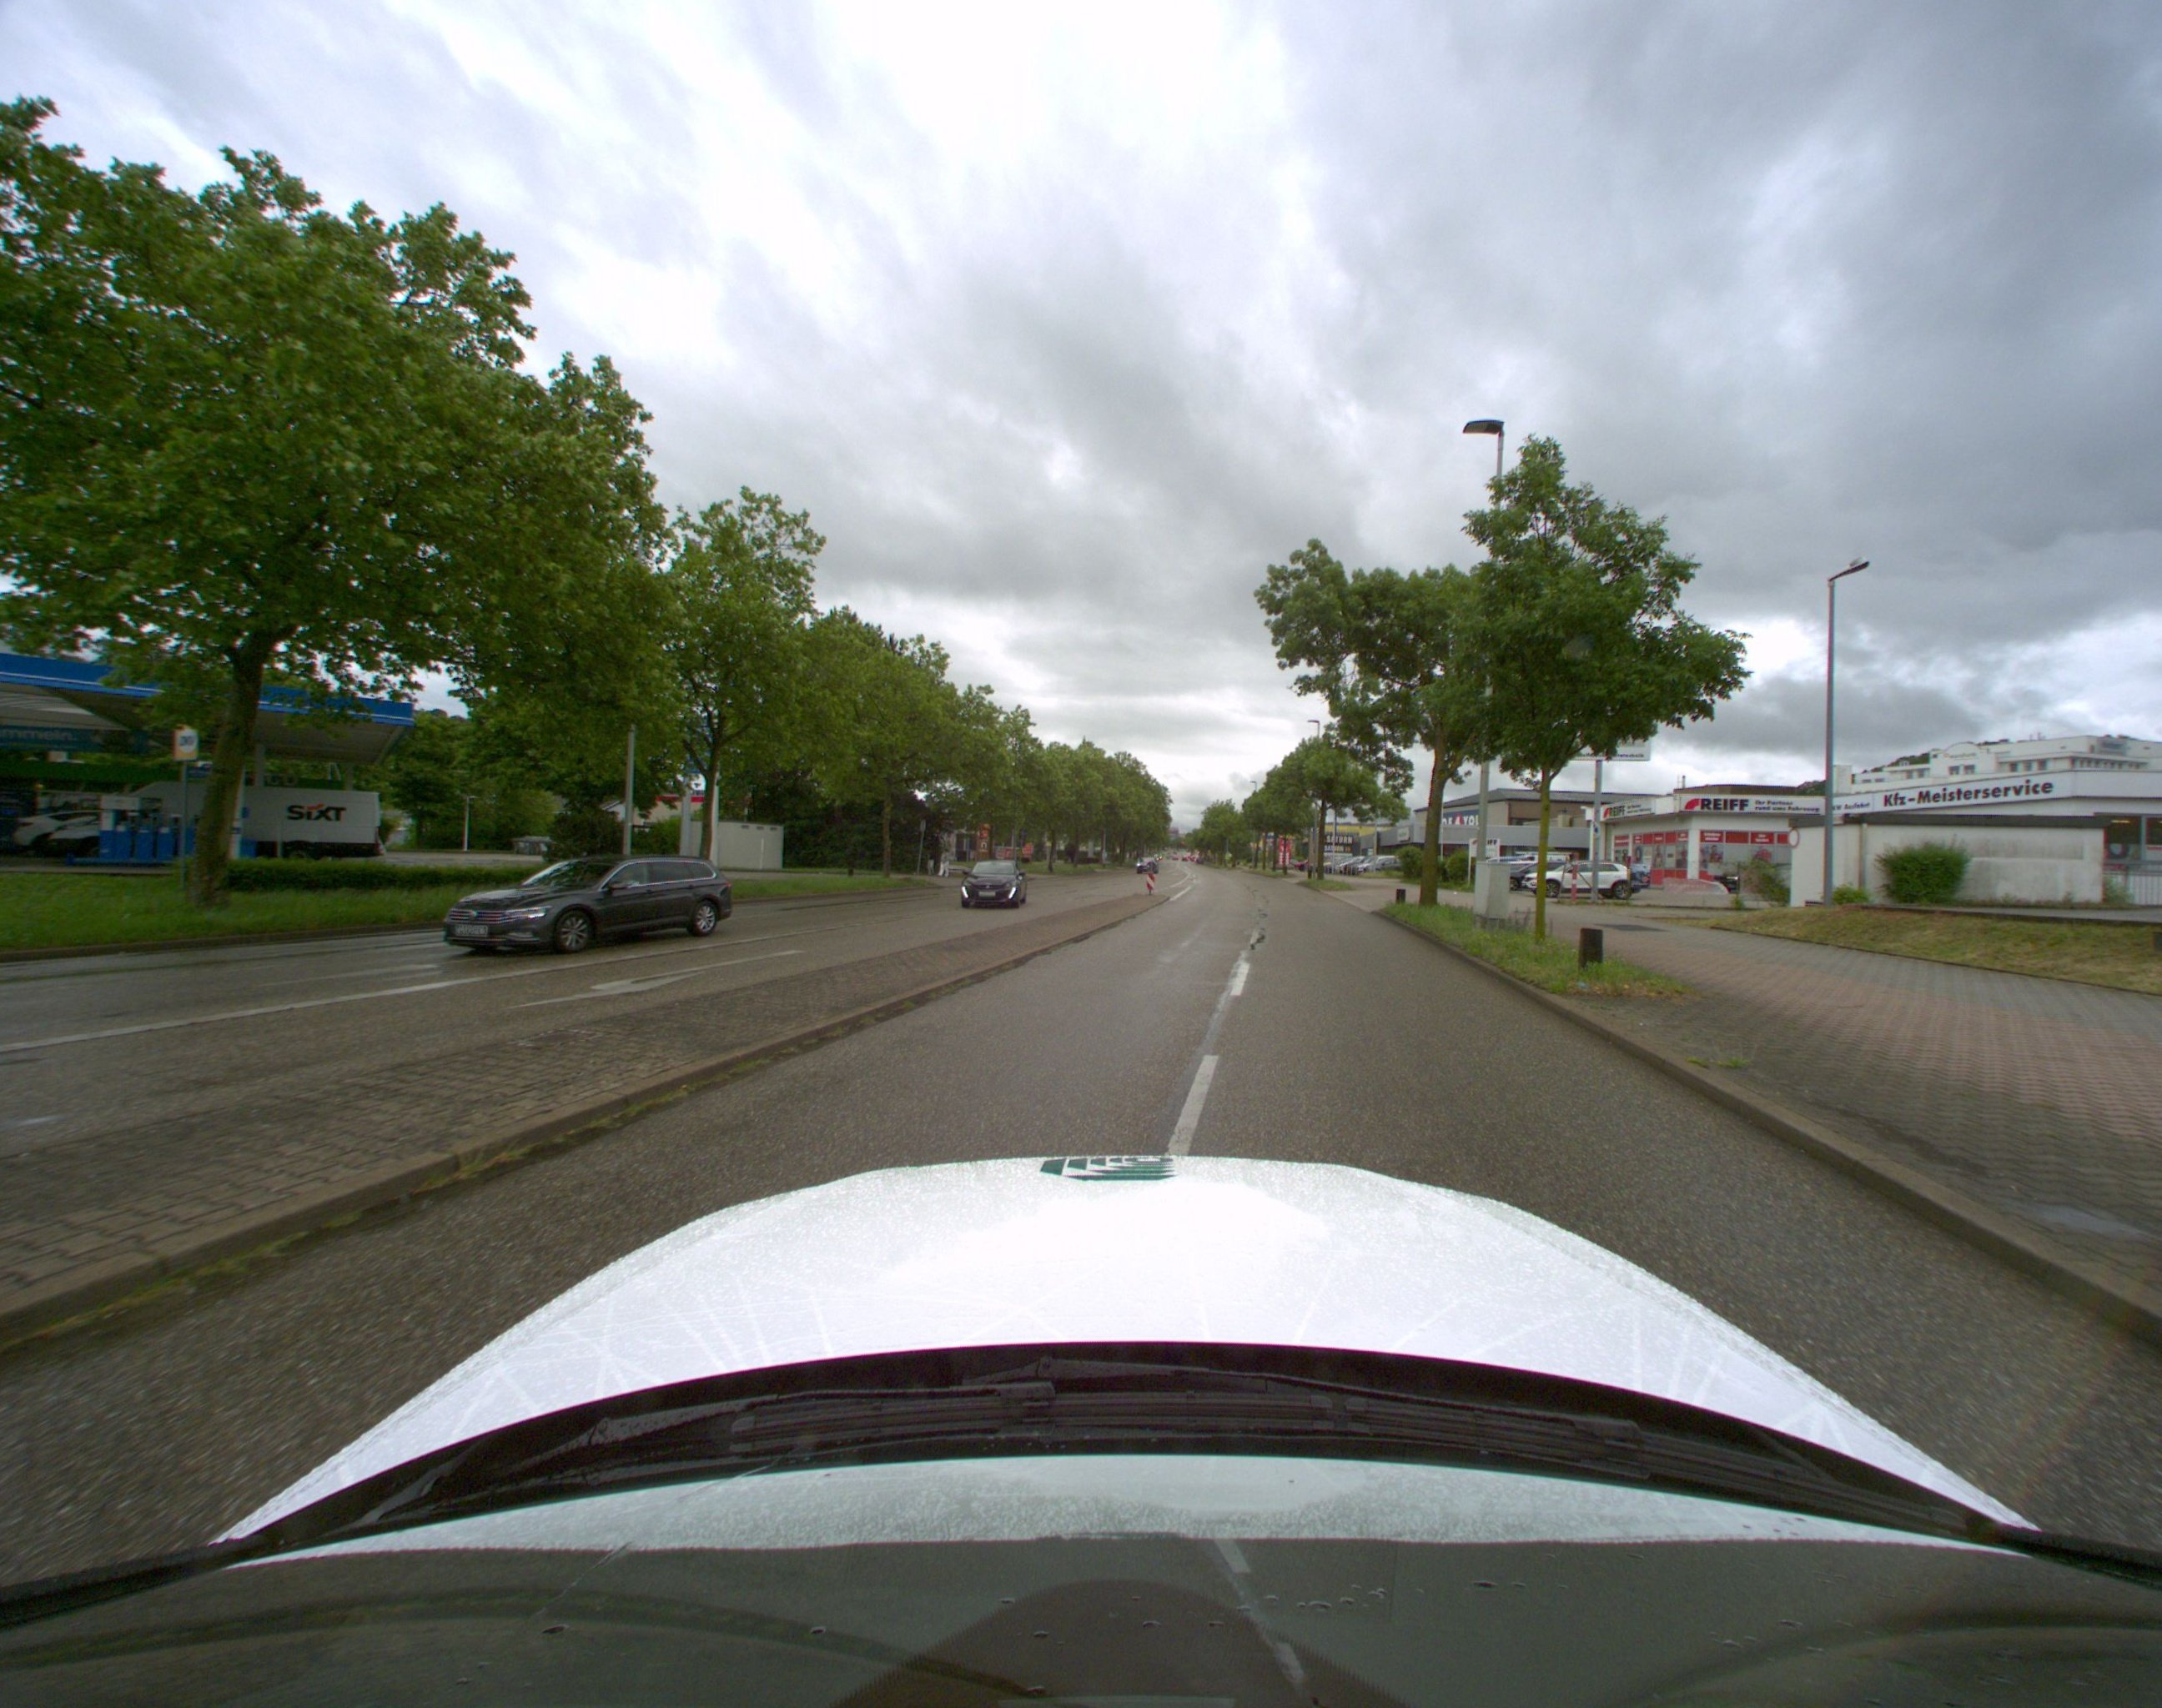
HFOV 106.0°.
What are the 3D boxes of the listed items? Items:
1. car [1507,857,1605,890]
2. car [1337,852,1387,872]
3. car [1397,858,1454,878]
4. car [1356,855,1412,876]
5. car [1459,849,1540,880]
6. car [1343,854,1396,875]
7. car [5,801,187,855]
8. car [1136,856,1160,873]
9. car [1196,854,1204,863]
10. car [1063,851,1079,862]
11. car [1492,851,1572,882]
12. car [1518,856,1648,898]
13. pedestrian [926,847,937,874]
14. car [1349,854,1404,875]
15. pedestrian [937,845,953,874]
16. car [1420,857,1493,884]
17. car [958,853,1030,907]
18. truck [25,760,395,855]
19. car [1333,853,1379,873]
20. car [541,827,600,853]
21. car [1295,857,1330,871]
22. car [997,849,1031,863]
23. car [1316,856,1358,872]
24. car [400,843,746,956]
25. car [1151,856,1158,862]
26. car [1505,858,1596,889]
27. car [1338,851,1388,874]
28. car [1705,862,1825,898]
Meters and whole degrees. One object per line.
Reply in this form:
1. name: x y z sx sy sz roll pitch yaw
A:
1. car: 23.361 0.948 40.206 3.952 1.522 1.727 0 0 22
2. car: 25.917 0.730 75.282 3.967 1.587 1.815 -4 0 5
3. car: 26.266 1.065 62.101 3.659 1.464 1.797 1 0 7
4. car: 24.358 0.918 65.592 3.813 1.461 1.831 -3 -1 6
5. car: 24.467 0.596 47.665 4.102 1.662 1.833 1 1 31
6. car: 24.903 0.917 70.460 3.963 1.585 1.817 -3 -1 9
7. car: -33.276 -0.834 27.671 3.579 1.582 1.670 3 -2 -39
8. car: 6.437 1.014 77.953 1.800 1.562 4.611 1 -1 10
9. car: 26.733 1.052 182.890 1.735 2.013 4.009 1 0 8
10. car: -1.439 0.362 119.732 1.814 1.486 3.945 1 0 5
11. car: 32.331 0.872 58.439 4.628 2.149 1.969 1 0 6
12. car: 20.387 0.910 33.257 4.143 1.552 1.897 1 0 16
13. pedestrian: -9.417 0.402 51.215 0.508 1.683 0.542 1 0 9
14. car: 24.734 0.879 68.218 3.963 1.543 1.817 -3 -1 9
15. pedestrian: -8.573 0.360 51.355 0.658 1.766 0.587 2 0 30
16. car: 23.358 1.002 50.629 4.017 1.597 1.996 0 0 28
17. car: -2.589 0.732 25.140 1.636 1.508 3.895 1 0 2
18. truck: -27.490 -1.305 26.358 7.918 2.675 2.129 0 0 -45
19. car: 26.279 0.874 77.896 3.963 1.786 1.817 1 0 9
20. car: -37.704 -0.980 60.269 1.989 1.838 3.995 1 0 -4
21. car: 27.484 1.152 96.740 3.820 1.604 1.799 -1 -1 7
22. car: -6.960 0.220 84.909 3.152 1.155 1.295 4 1 15
23. car: 26.940 1.076 85.799 3.821 1.566 1.669 -2 -1 4
24. car: -7.975 0.619 13.473 1.979 1.508 4.749 0 0 15
25. car: 20.838 1.436 229.598 1.794 1.463 3.853 0 0 7
26. car: 24.453 0.976 42.571 3.894 1.523 1.742 0 0 22
27. car: 25.135 0.742 72.708 3.963 1.786 1.817 -3 -1 9
28. car: 31.156 1.151 37.205 3.824 1.479 1.792 2 -1 9
